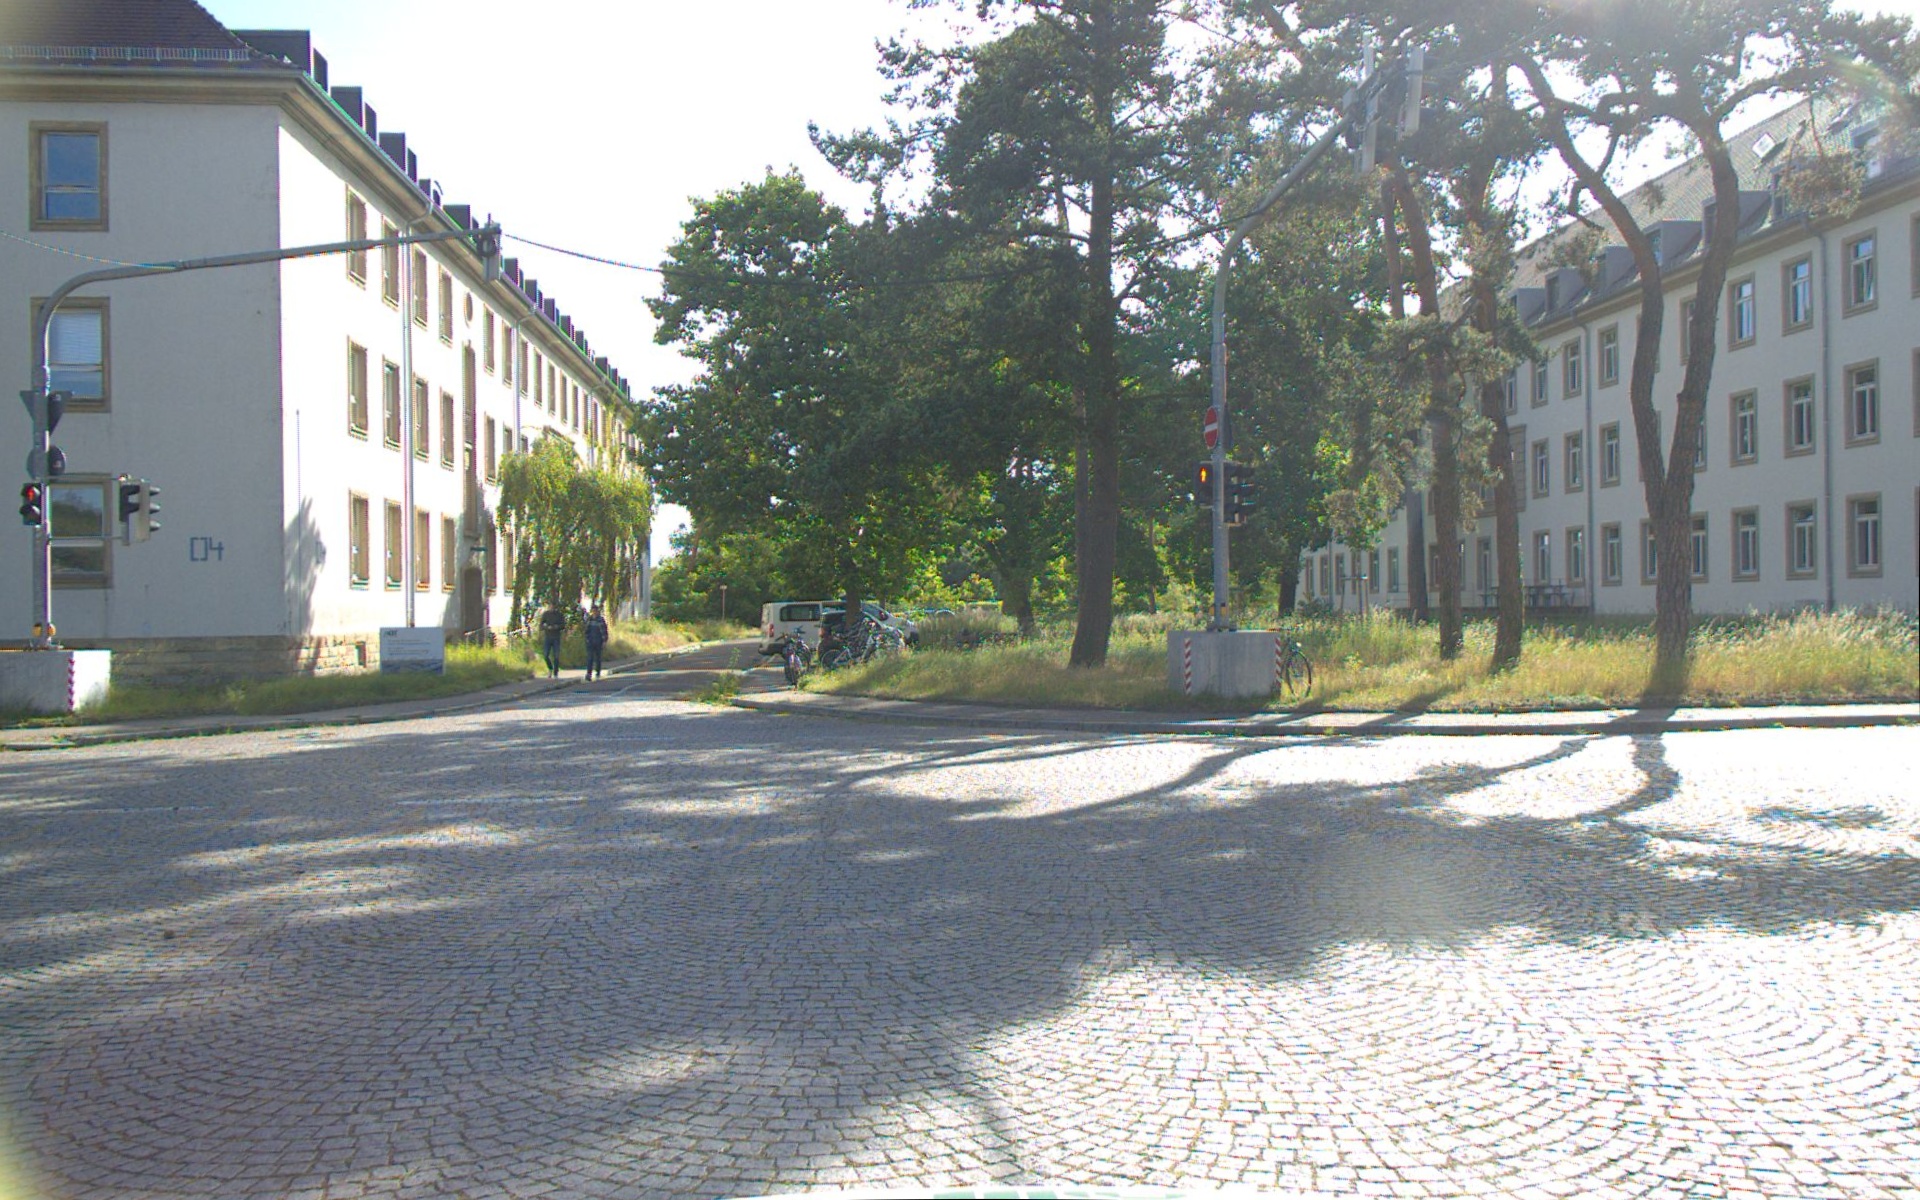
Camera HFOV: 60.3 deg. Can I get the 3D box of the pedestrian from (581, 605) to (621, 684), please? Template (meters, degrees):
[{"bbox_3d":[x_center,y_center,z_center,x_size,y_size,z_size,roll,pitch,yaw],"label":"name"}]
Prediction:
[{"bbox_3d":[-8.556,1.053,39.425,0.751,1.849,0.683,-1,-1,6],"label":"pedestrian"}]

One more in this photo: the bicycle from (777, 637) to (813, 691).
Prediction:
[{"bbox_3d":[-3.236,1.234,32.320,0.682,0.988,1.858,0,-1,-6],"label":"bicycle"}]

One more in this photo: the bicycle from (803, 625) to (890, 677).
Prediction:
[{"bbox_3d":[-2.600,1.154,37.874,1.921,1.149,0.641,0,-1,-32],"label":"bicycle"}]

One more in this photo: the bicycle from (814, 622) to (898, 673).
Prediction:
[{"bbox_3d":[-2.454,1.115,38.986,1.905,1.149,0.646,-1,-1,-10],"label":"bicycle"}]

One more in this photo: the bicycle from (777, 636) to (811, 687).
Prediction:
[{"bbox_3d":[-3.440,1.259,34.240,0.682,0.988,1.858,0,-1,-6],"label":"bicycle"}]

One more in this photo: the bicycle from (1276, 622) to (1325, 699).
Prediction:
[{"bbox_3d":[4.997,0.871,24.313,0.456,1.099,1.173,-1,-1,-1],"label":"bicycle"}]

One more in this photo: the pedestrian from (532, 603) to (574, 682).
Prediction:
[{"bbox_3d":[-9.673,1.008,39.298,0.794,1.849,0.555,-1,-1,6],"label":"pedestrian"}]

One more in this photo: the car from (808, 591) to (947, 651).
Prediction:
[{"bbox_3d":[-2.491,0.629,49.645,3.917,1.713,1.841,-1,-1,-13],"label":"car"}]

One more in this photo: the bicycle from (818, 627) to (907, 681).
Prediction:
[{"bbox_3d":[-2.167,1.186,36.693,1.904,1.149,0.749,-1,-1,-8],"label":"bicycle"}]

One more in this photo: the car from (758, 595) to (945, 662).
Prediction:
[{"bbox_3d":[-3.589,0.904,53.966,5.825,2.049,2.468,-1,-1,-12],"label":"car"}]

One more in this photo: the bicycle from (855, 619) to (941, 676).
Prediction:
[{"bbox_3d":[-1.412,1.068,37.454,1.904,1.257,0.484,-1,-1,-8],"label":"bicycle"}]

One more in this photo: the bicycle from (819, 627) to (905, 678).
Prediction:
[{"bbox_3d":[-2.128,1.136,35.896,1.819,1.049,0.749,-1,-1,-8],"label":"bicycle"}]
